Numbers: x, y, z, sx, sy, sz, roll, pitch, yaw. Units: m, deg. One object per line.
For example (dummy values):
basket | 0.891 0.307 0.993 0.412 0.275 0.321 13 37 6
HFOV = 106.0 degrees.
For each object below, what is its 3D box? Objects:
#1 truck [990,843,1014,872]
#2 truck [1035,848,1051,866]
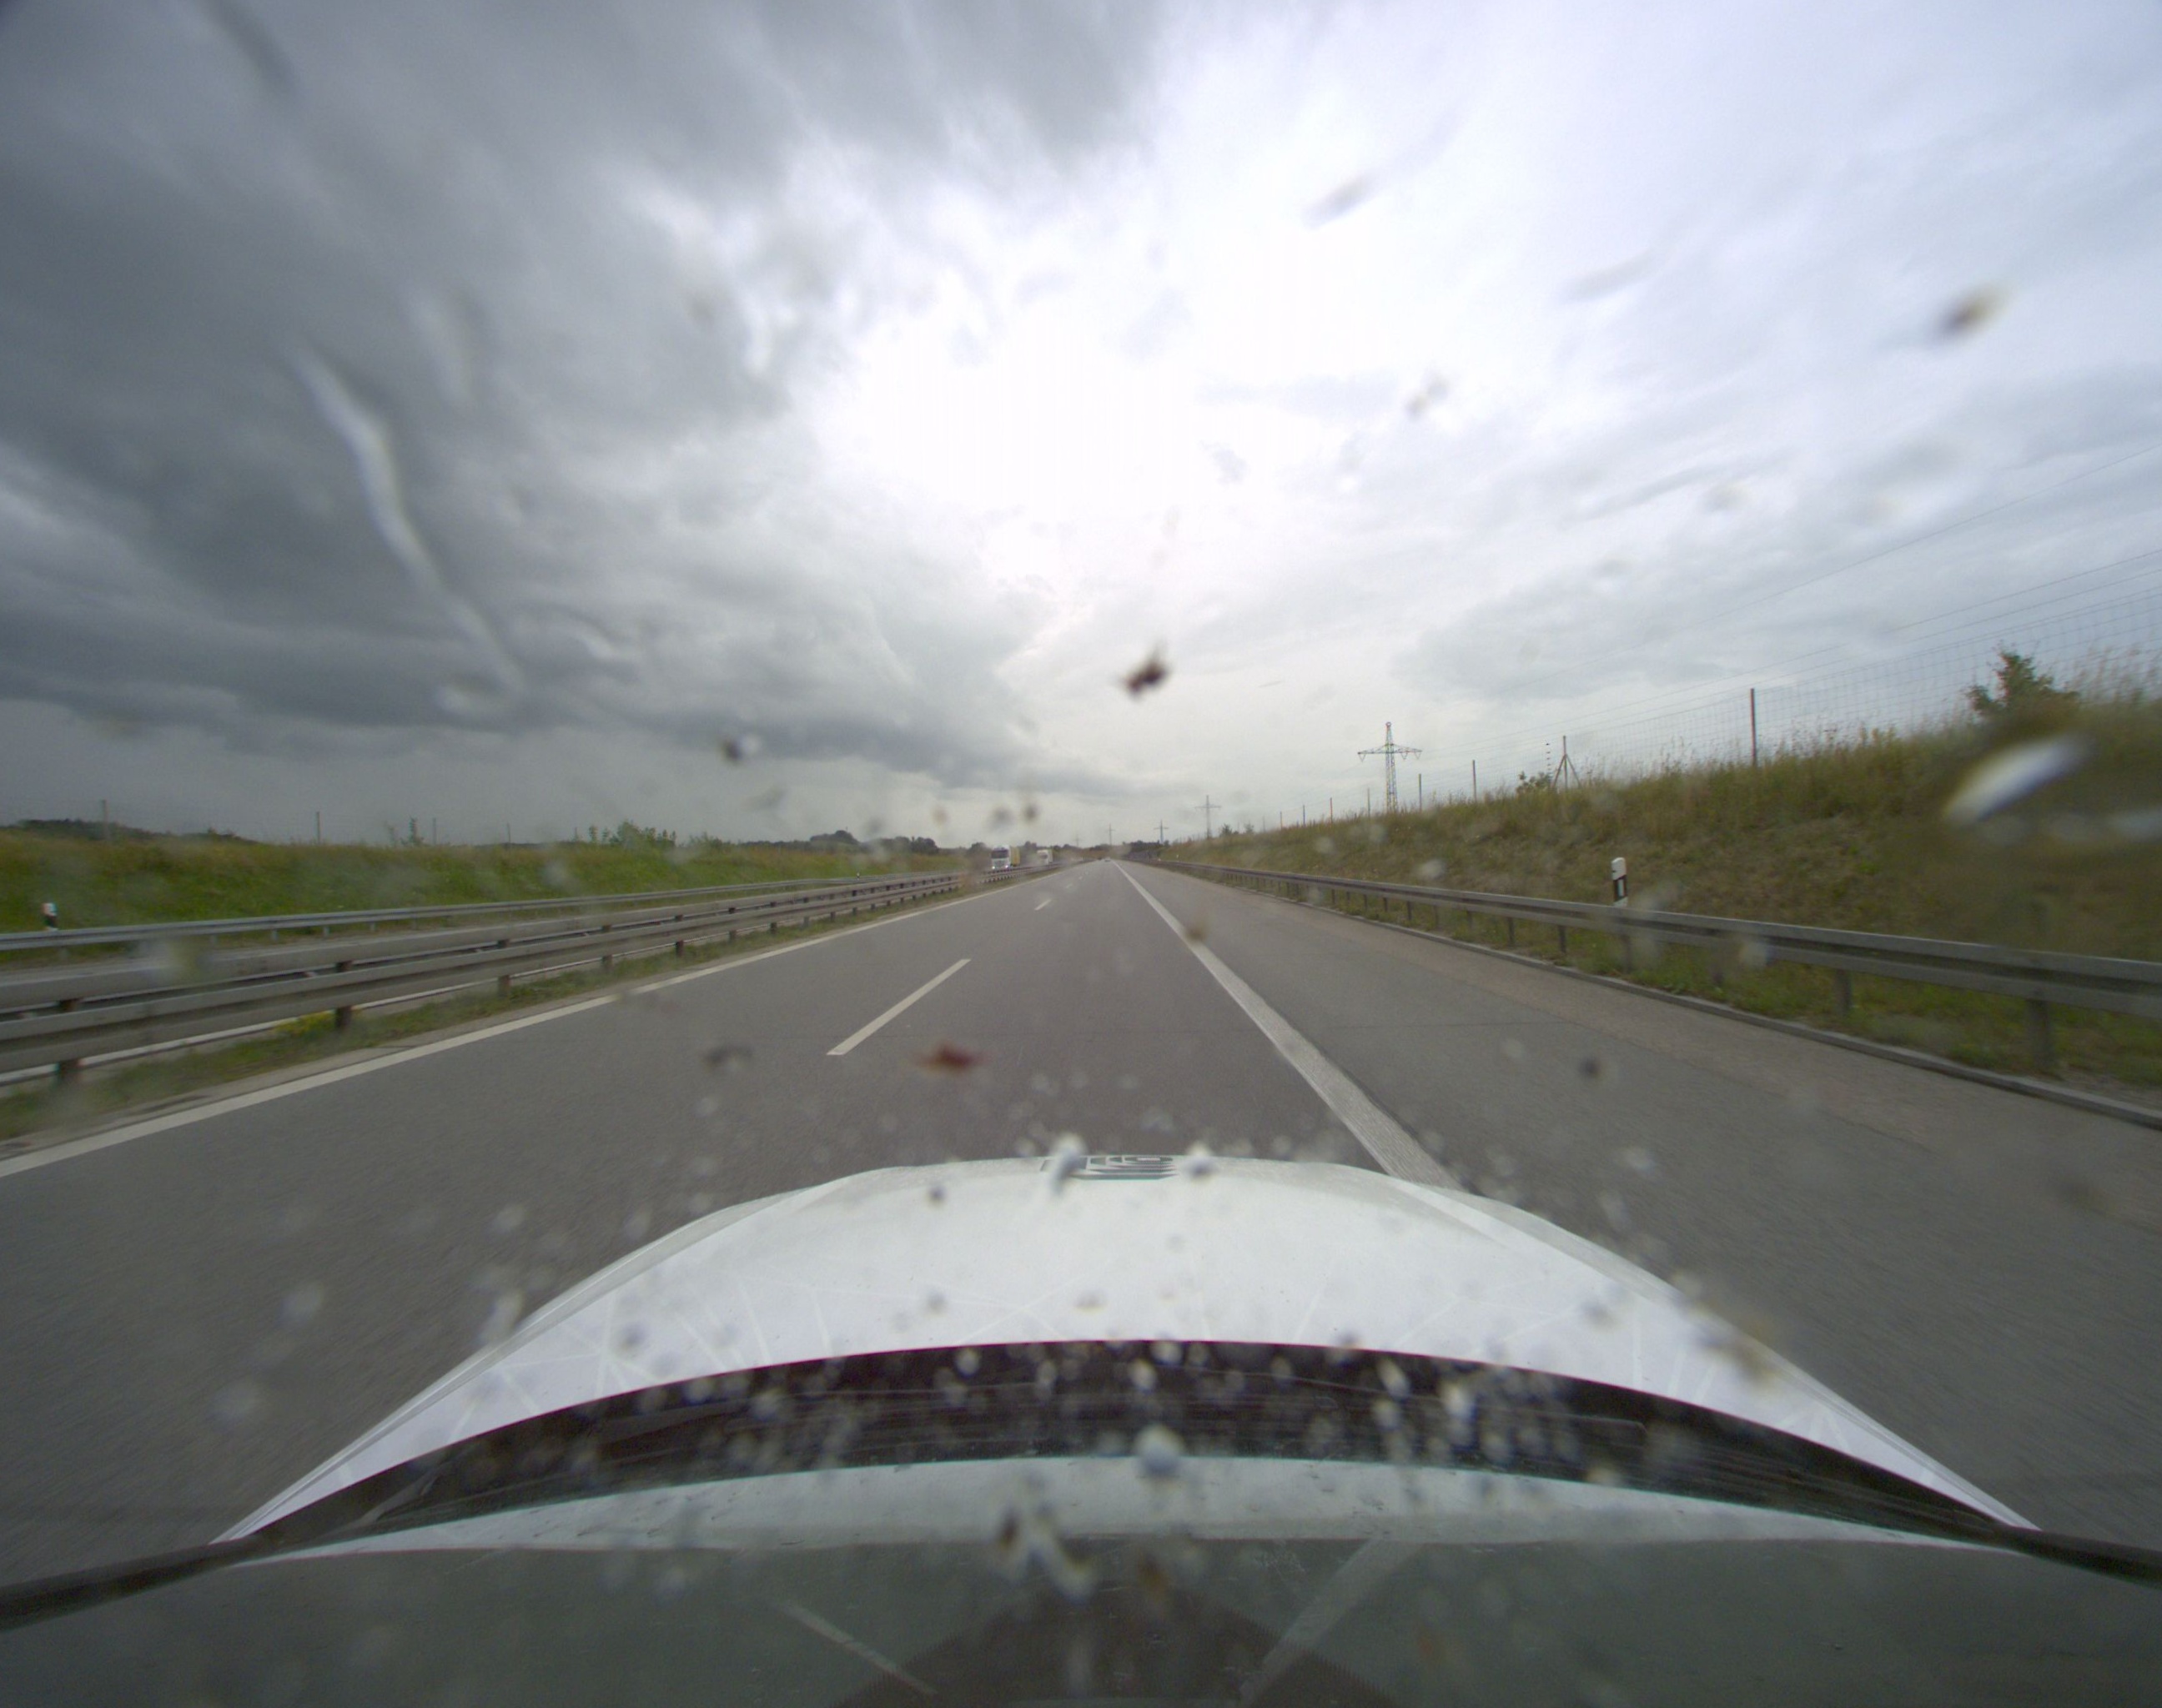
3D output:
truck | -11.150 0.467 115.065 2.584 3.925 5.587 -3 0 0
truck | -8.508 0.735 183.710 2.941 3.925 5.520 -3 0 2
